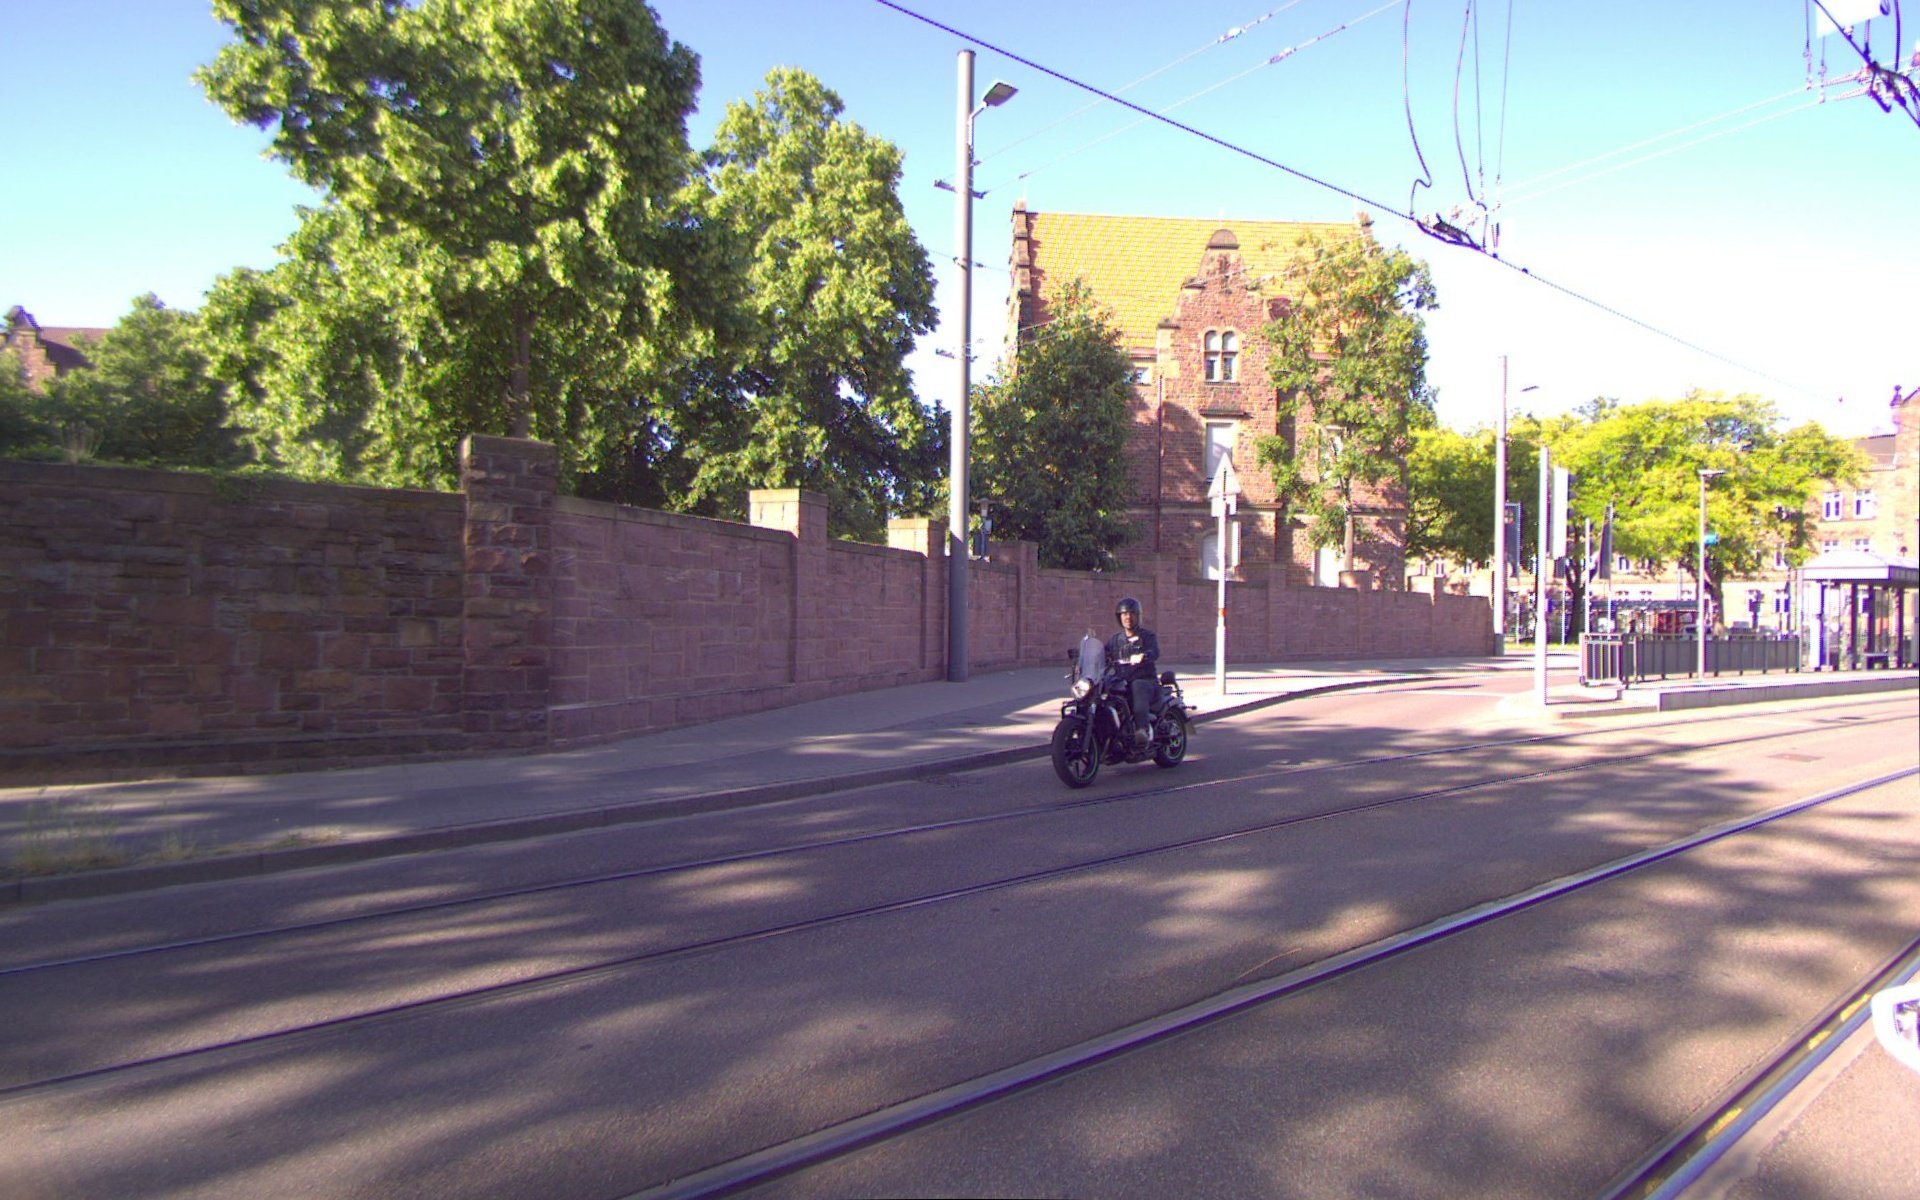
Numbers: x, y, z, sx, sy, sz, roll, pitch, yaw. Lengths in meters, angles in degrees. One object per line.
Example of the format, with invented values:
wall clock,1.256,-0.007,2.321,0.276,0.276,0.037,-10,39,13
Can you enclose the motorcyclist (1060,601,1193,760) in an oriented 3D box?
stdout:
motorcyclist,1.573,0.719,9.496,0.879,1.401,0.903,1,0,44

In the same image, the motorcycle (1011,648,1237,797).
motorcycle,1.620,1.076,9.546,0.902,1.169,2.414,1,-1,44
